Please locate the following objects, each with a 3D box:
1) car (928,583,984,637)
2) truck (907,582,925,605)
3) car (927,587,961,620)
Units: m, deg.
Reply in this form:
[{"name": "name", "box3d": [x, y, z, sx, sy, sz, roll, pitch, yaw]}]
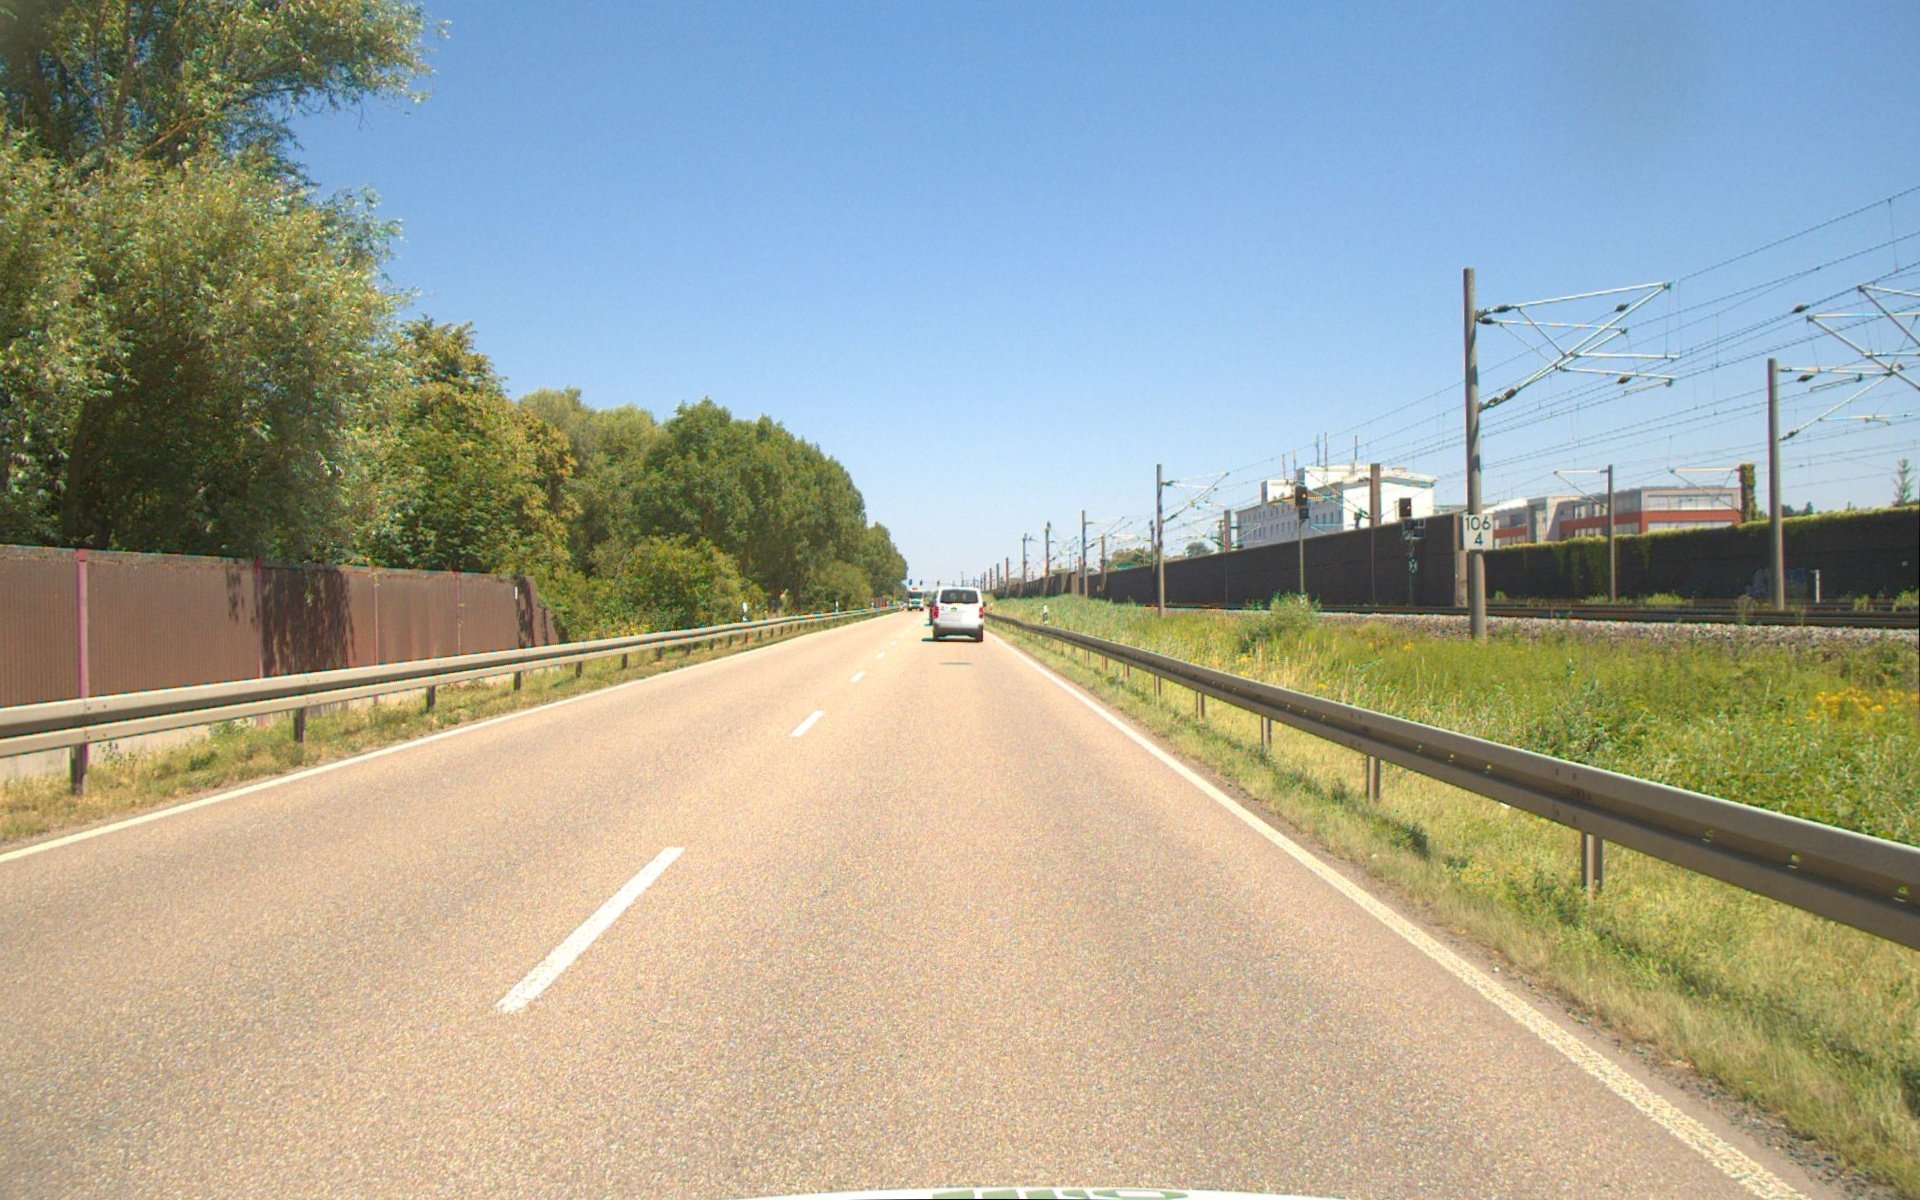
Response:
[{"name": "car", "box3d": [-0.172, 0.347, 60.234, 1.953, 1.882, 3.999, 1, 0, -1]}, {"name": "truck", "box3d": [-6.854, -0.934, 258.034, 2.727, 3.464, 7.987, 1, 0, -1]}, {"name": "car", "box3d": [-0.965, 0.199, 99.703, 1.953, 1.882, 3.999, 1, 0, -1]}]
